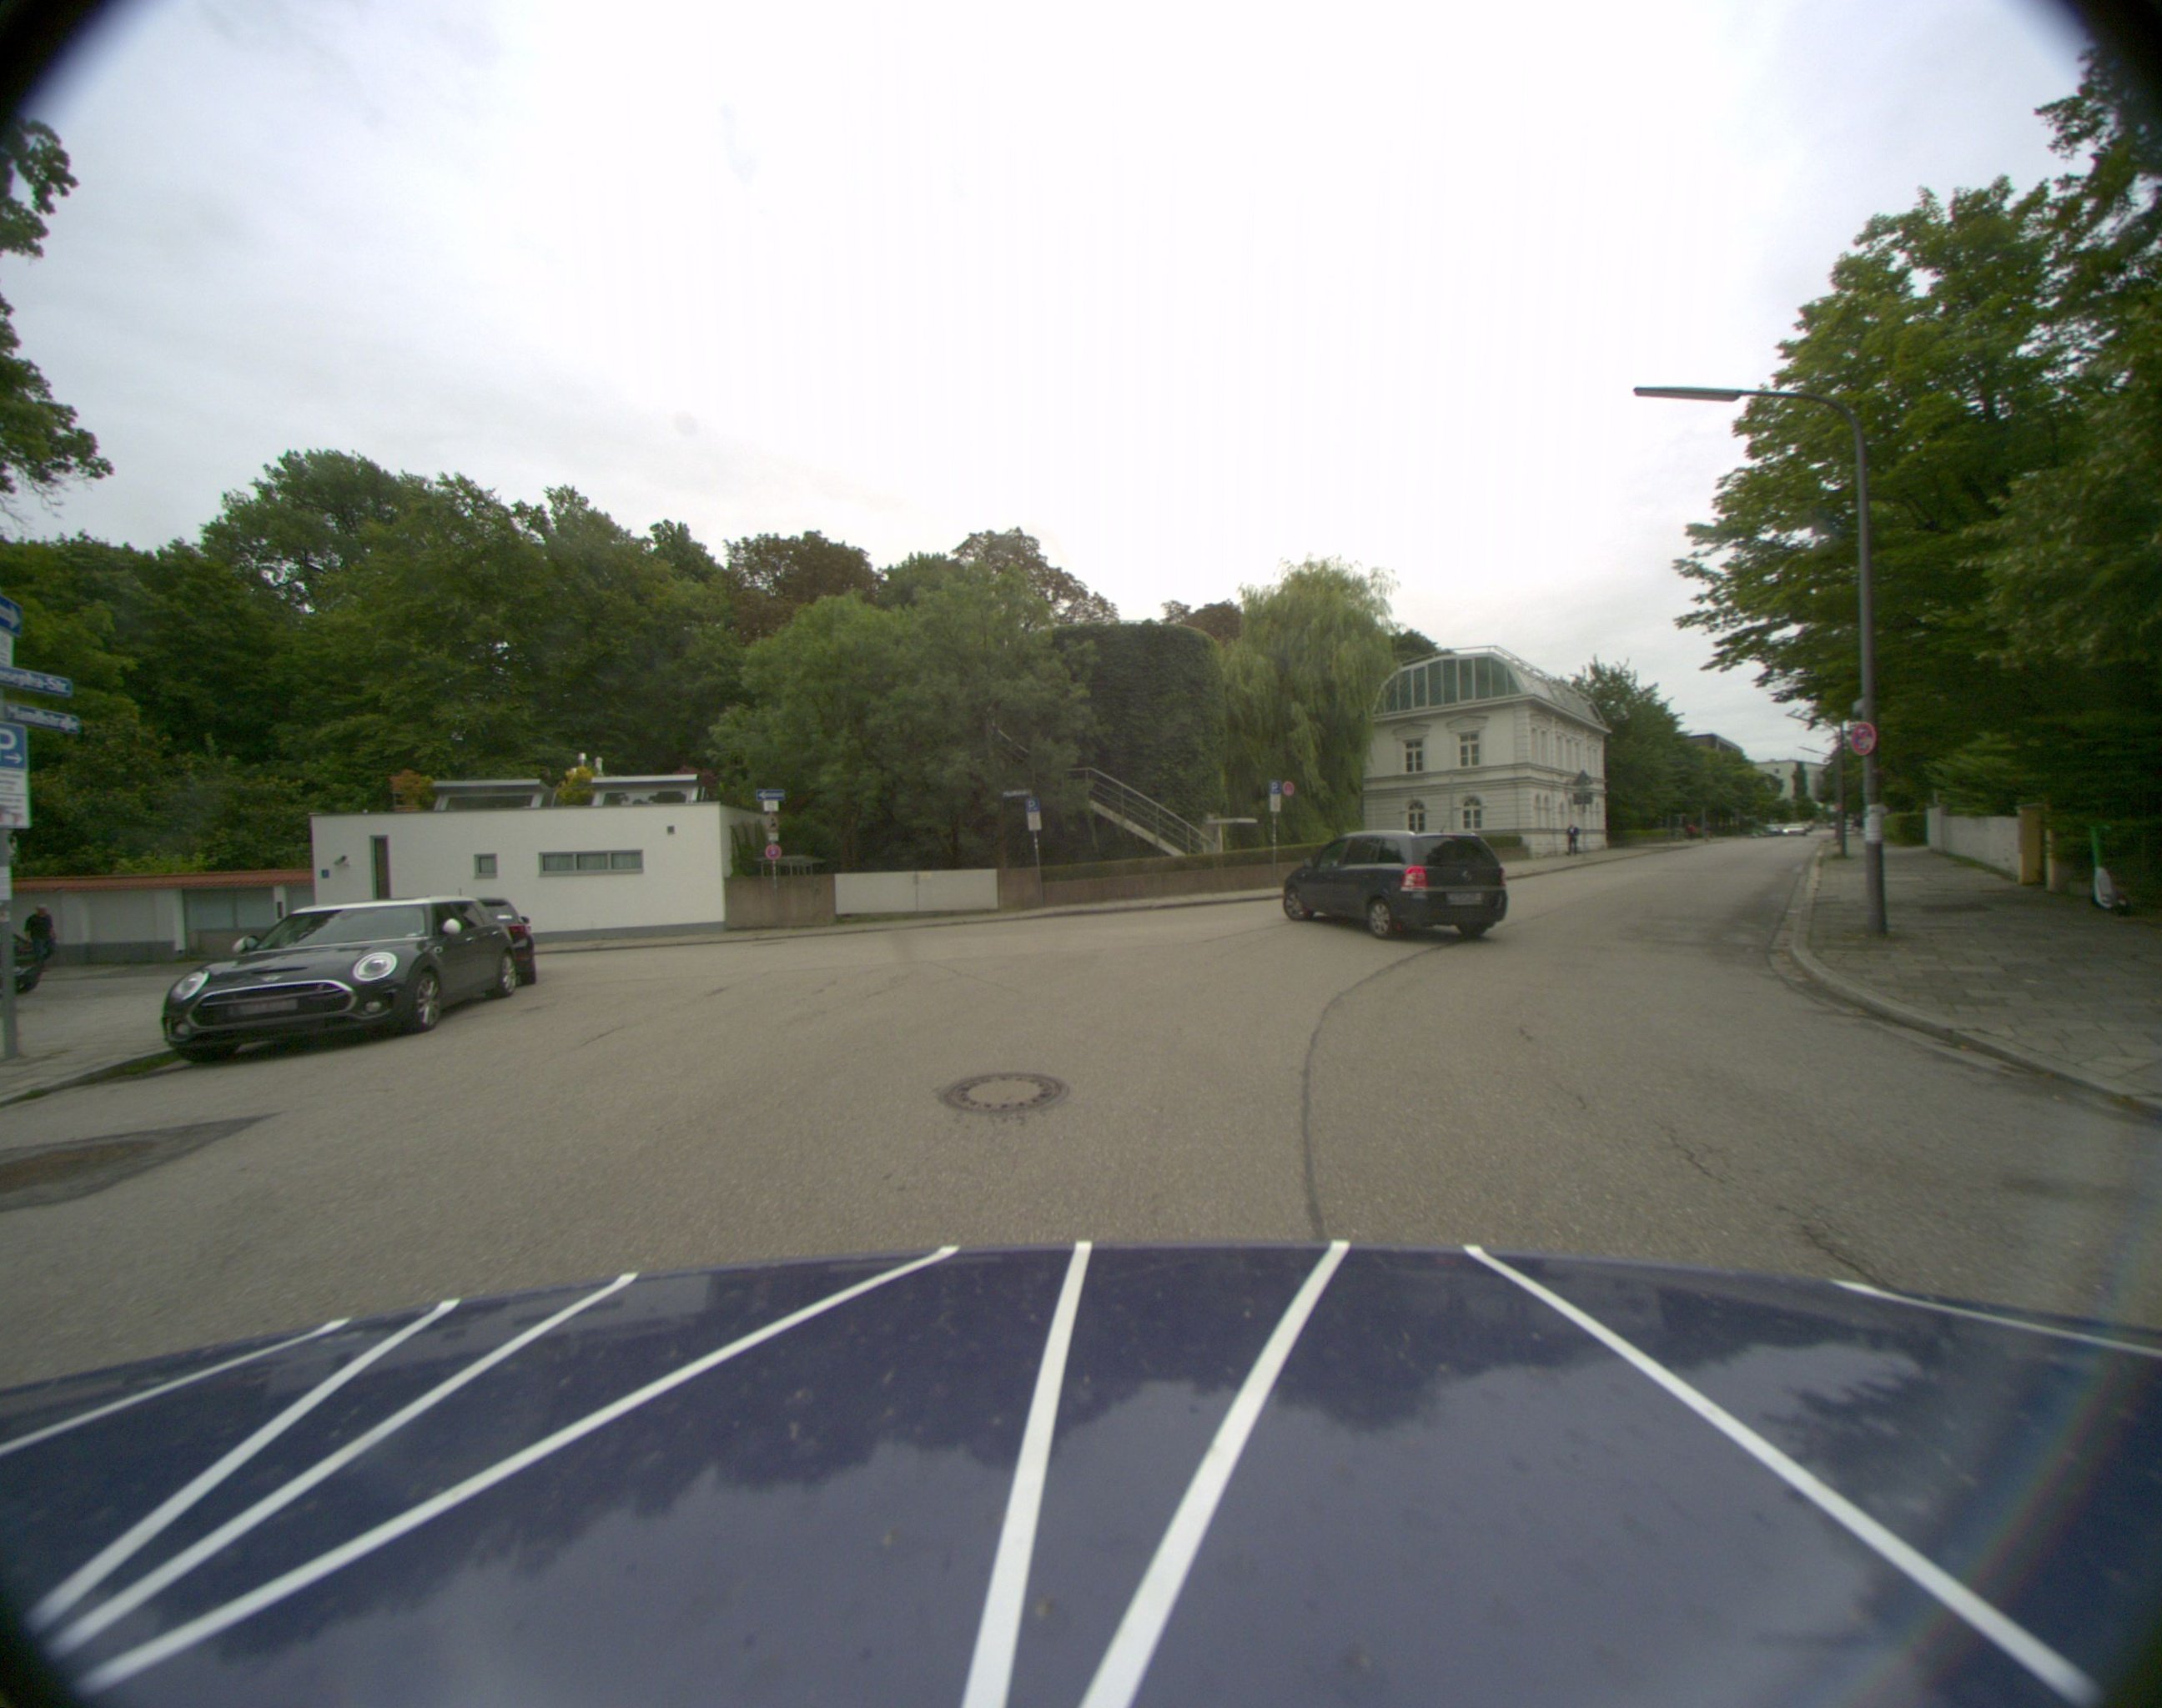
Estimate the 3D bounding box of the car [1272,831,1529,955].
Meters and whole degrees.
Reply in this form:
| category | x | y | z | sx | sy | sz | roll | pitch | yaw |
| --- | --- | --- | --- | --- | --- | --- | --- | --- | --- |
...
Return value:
| category | x | y | z | sx | sy | sz | roll | pitch | yaw |
| --- | --- | --- | --- | --- | --- | --- | --- | --- | --- |
| car | 4.969 | 0.483 | 12.624 | 2.000 | 1.683 | 4.330 | -1 | 1 | -8 |

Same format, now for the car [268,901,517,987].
| category | x | y | z | sx | sy | sz | roll | pitch | yaw |
| --- | --- | --- | --- | --- | --- | --- | --- | --- | --- |
| car | -13.948 | 1.820 | 15.451 | 4.007 | 1.437 | 1.944 | -4 | -2 | 17 |

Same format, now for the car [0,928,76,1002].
| category | x | y | z | sx | sy | sz | roll | pitch | yaw |
| --- | --- | --- | --- | --- | --- | --- | --- | --- | --- |
| car | -24.578 | 2.455 | 16.016 | 4.012 | 1.438 | 1.941 | -2 | 0 | -3 |

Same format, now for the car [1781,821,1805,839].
| category | x | y | z | sx | sy | sz | roll | pitch | yaw |
| --- | --- | --- | --- | --- | --- | --- | --- | --- | --- |
| car | 85.827 | -2.927 | 91.611 | 1.994 | 2.002 | 4.007 | -1 | 2 | 44 |

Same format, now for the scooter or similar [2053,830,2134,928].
| category | x | y | z | sx | sy | sz | roll | pitch | yaw |
| --- | --- | --- | --- | --- | --- | --- | --- | --- | --- |
| scooter or similar | 13.358 | 0.309 | 10.050 | 1.422 | 1.182 | 0.391 | -3 | -3 | -43 |

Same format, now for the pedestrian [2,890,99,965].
| category | x | y | z | sx | sy | sz | roll | pitch | yaw |
| --- | --- | --- | --- | --- | --- | --- | --- | --- | --- |
| pedestrian | -28.491 | 2.002 | 21.039 | 1.231 | 1.920 | 0.951 | -3 | 1 | -4 |

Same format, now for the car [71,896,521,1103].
| category | x | y | z | sx | sy | sz | roll | pitch | yaw |
| --- | --- | --- | --- | --- | --- | --- | --- | --- | --- |
| car | -8.063 | 1.305 | 8.476 | 1.899 | 1.438 | 4.262 | -5 | 0 | -23 |

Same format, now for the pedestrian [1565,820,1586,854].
| category | x | y | z | sx | sy | sz | roll | pitch | yaw |
| --- | --- | --- | --- | --- | --- | --- | --- | --- | --- |
| pedestrian | 25.391 | -0.876 | 39.033 | 0.769 | 1.697 | 0.678 | -4 | 5 | -44 |

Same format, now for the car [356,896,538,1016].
| category | x | y | z | sx | sy | sz | roll | pitch | yaw |
| --- | --- | --- | --- | --- | --- | --- | --- | --- | --- |
| car | -10.155 | 1.520 | 12.414 | 1.900 | 1.438 | 4.006 | -5 | 0 | -37 |
